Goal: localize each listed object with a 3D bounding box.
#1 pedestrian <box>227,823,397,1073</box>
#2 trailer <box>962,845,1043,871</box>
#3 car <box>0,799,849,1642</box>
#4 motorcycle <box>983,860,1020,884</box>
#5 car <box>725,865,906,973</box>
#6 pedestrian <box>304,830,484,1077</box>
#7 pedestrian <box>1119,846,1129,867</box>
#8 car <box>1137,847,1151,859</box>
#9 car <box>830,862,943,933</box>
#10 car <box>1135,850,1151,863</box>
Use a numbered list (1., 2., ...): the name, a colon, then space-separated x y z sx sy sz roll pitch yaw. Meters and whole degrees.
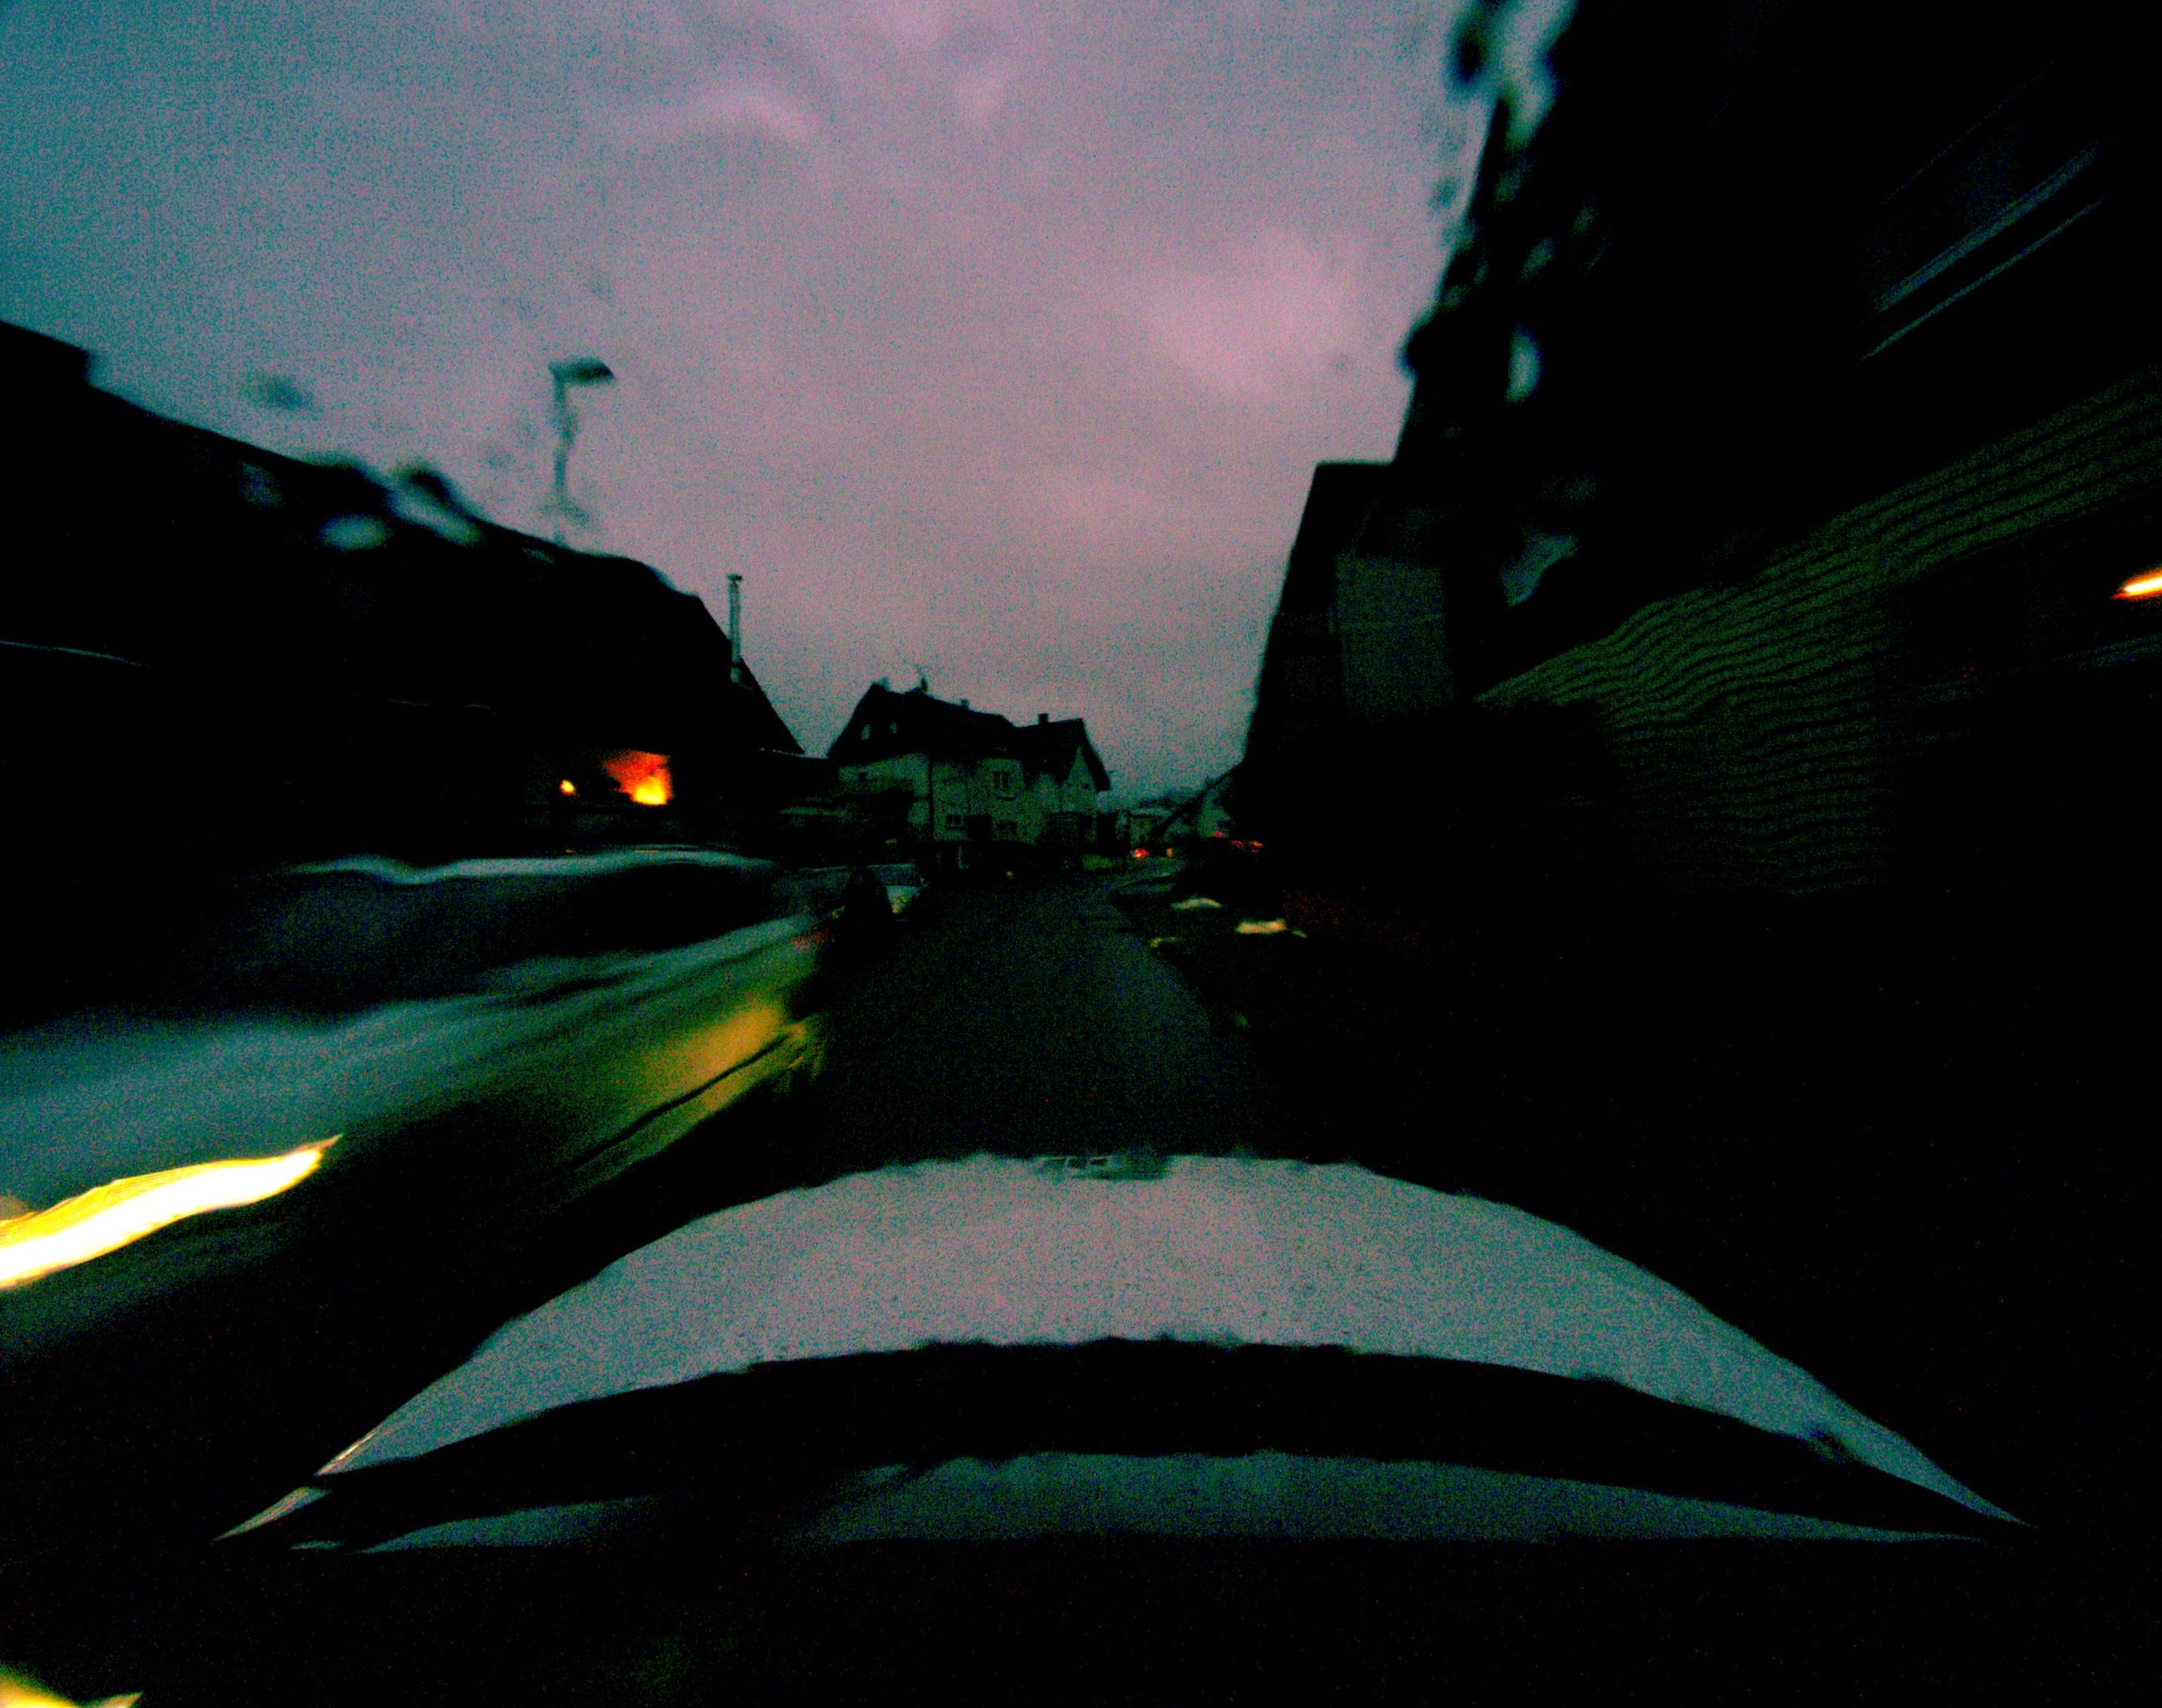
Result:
1. pedestrian: -6.169 0.712 6.574 0.596 1.869 0.811 -1 -1 -3
2. trailer: -4.682 0.204 49.249 2.038 1.168 4.900 0 4 38
3. car: -2.617 0.725 3.593 1.749 1.581 4.005 -1 -1 5
4. motorcycle: -4.580 1.009 46.548 1.062 1.298 2.213 -1 0 -38
5. car: -4.288 0.970 13.862 1.818 1.440 4.064 -2 0 -2
6. pedestrian: -5.312 0.728 6.348 0.704 1.779 0.811 -1 -1 -2
7. pedestrian: 3.621 0.200 68.138 0.593 1.733 0.816 -2 -1 18
8. car: 9.778 -0.129 125.677 1.983 1.618 4.007 -1 -1 7
9. car: -4.408 0.933 19.059 1.744 1.388 4.143 -2 0 -2
10. car: 10.662 0.467 139.701 2.097 2.027 4.998 -4 0 11
